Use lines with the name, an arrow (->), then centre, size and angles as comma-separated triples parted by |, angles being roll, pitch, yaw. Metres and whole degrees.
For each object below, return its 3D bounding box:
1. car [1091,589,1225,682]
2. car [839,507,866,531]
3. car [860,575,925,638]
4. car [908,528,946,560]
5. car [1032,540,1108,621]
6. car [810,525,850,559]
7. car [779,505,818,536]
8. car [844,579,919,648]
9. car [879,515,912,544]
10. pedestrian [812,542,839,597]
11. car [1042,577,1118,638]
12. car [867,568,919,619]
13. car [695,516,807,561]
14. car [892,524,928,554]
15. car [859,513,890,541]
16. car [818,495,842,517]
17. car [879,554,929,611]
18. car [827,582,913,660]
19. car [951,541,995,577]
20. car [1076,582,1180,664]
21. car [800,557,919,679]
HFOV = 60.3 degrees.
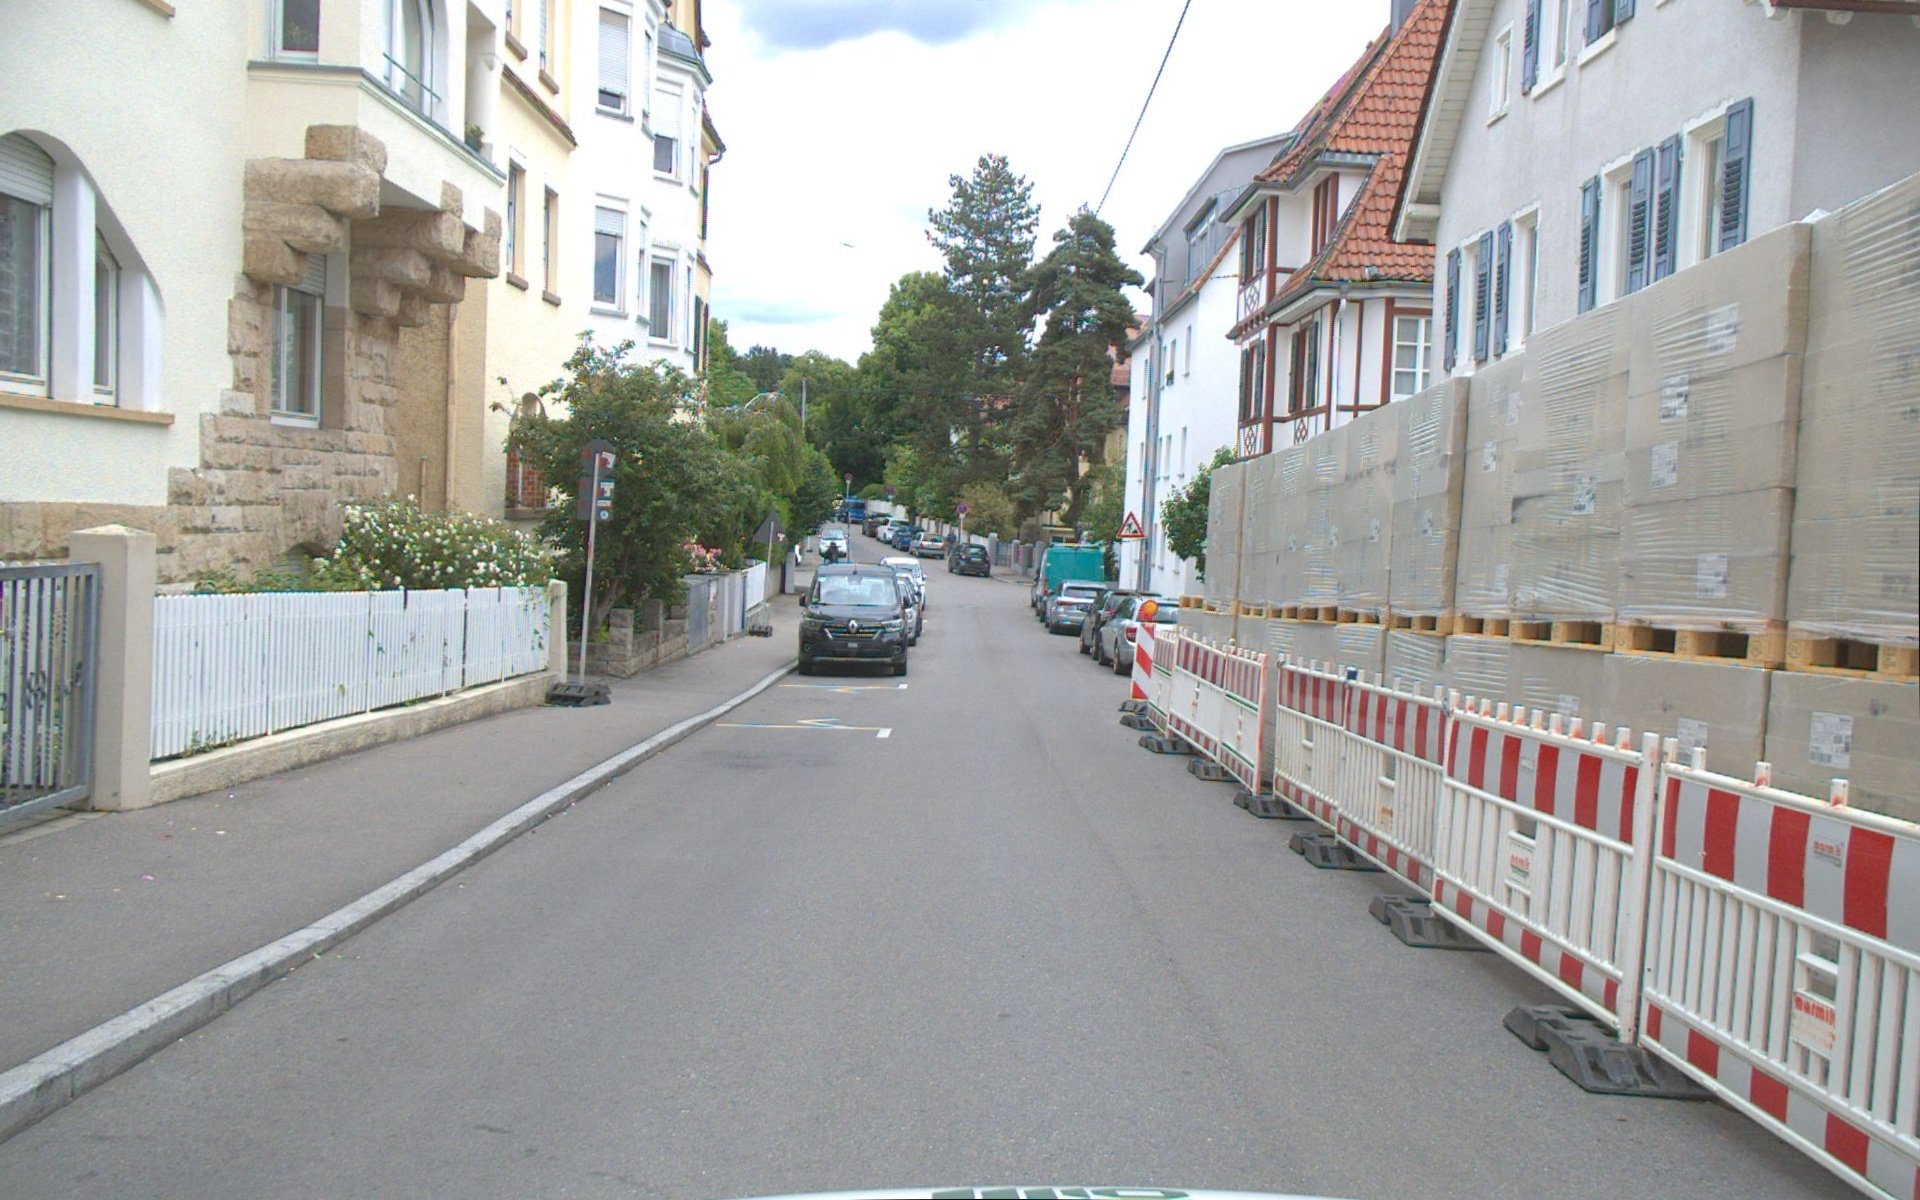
car -> 3.634, 0.602, 31.071 | 1.782, 1.466, 4.450 | 3, 1, -2
car -> -8.205, -6.208, 125.950 | 1.604, 1.563, 3.525 | 3, 5, -10
car -> -1.730, 0.124, 42.915 | 1.564, 1.503, 3.990 | 2, 1, -2
car -> -1.914, -3.224, 95.089 | 1.604, 1.509, 3.525 | 3, 5, -10
car -> 3.500, -0.667, 53.161 | 1.940, 2.403, 4.276 | 3, 2, -2
car -> -7.291, -3.255, 92.483 | 1.644, 1.685, 3.852 | 1, 4, -14
car -> -10.852, -5.337, 110.948 | 1.872, 1.908, 4.579 | 1, 4, -15
car -> -1.784, 0.266, 38.271 | 1.609, 1.441, 3.983 | 2, 1, -2
car -> -4.152, -4.494, 105.746 | 1.604, 1.563, 3.525 | 3, 5, -10
pedestrian -> -4.928, -1.121, 60.671 | 0.775, 1.966, 0.919 | 3, 1, 2
car -> 3.335, 0.182, 46.676 | 1.690, 1.473, 3.880 | 3, 2, -2
car -> -2.112, -0.228, 52.686 | 1.564, 1.437, 3.662 | 2, 3, -2
car -> -9.229, -2.692, 73.223 | 1.964, 1.668, 4.785 | 5, 2, 41
car -> -3.049, -3.680, 99.694 | 1.604, 1.509, 3.525 | 3, 5, -10
car -> -5.814, -4.942, 111.820 | 1.604, 1.563, 3.525 | 3, 5, -10
car -> -10.710, -7.767, 136.029 | 1.604, 1.563, 3.525 | 3, 5, -10
car -> -1.924, -0.636, 57.112 | 1.638, 1.685, 3.864 | 2, 4, -2
car -> -1.813, 0.379, 33.708 | 1.609, 1.412, 3.858 | 2, 1, -3
car -> 0.641, -2.091, 83.385 | 1.604, 1.509, 3.526 | 4, 5, -8
car -> 3.549, 0.444, 35.490 | 1.655, 1.546, 3.880 | 3, 1, -2
car -> -1.705, 0.267, 27.995 | 1.808, 1.847, 4.541 | 2, 0, -4
